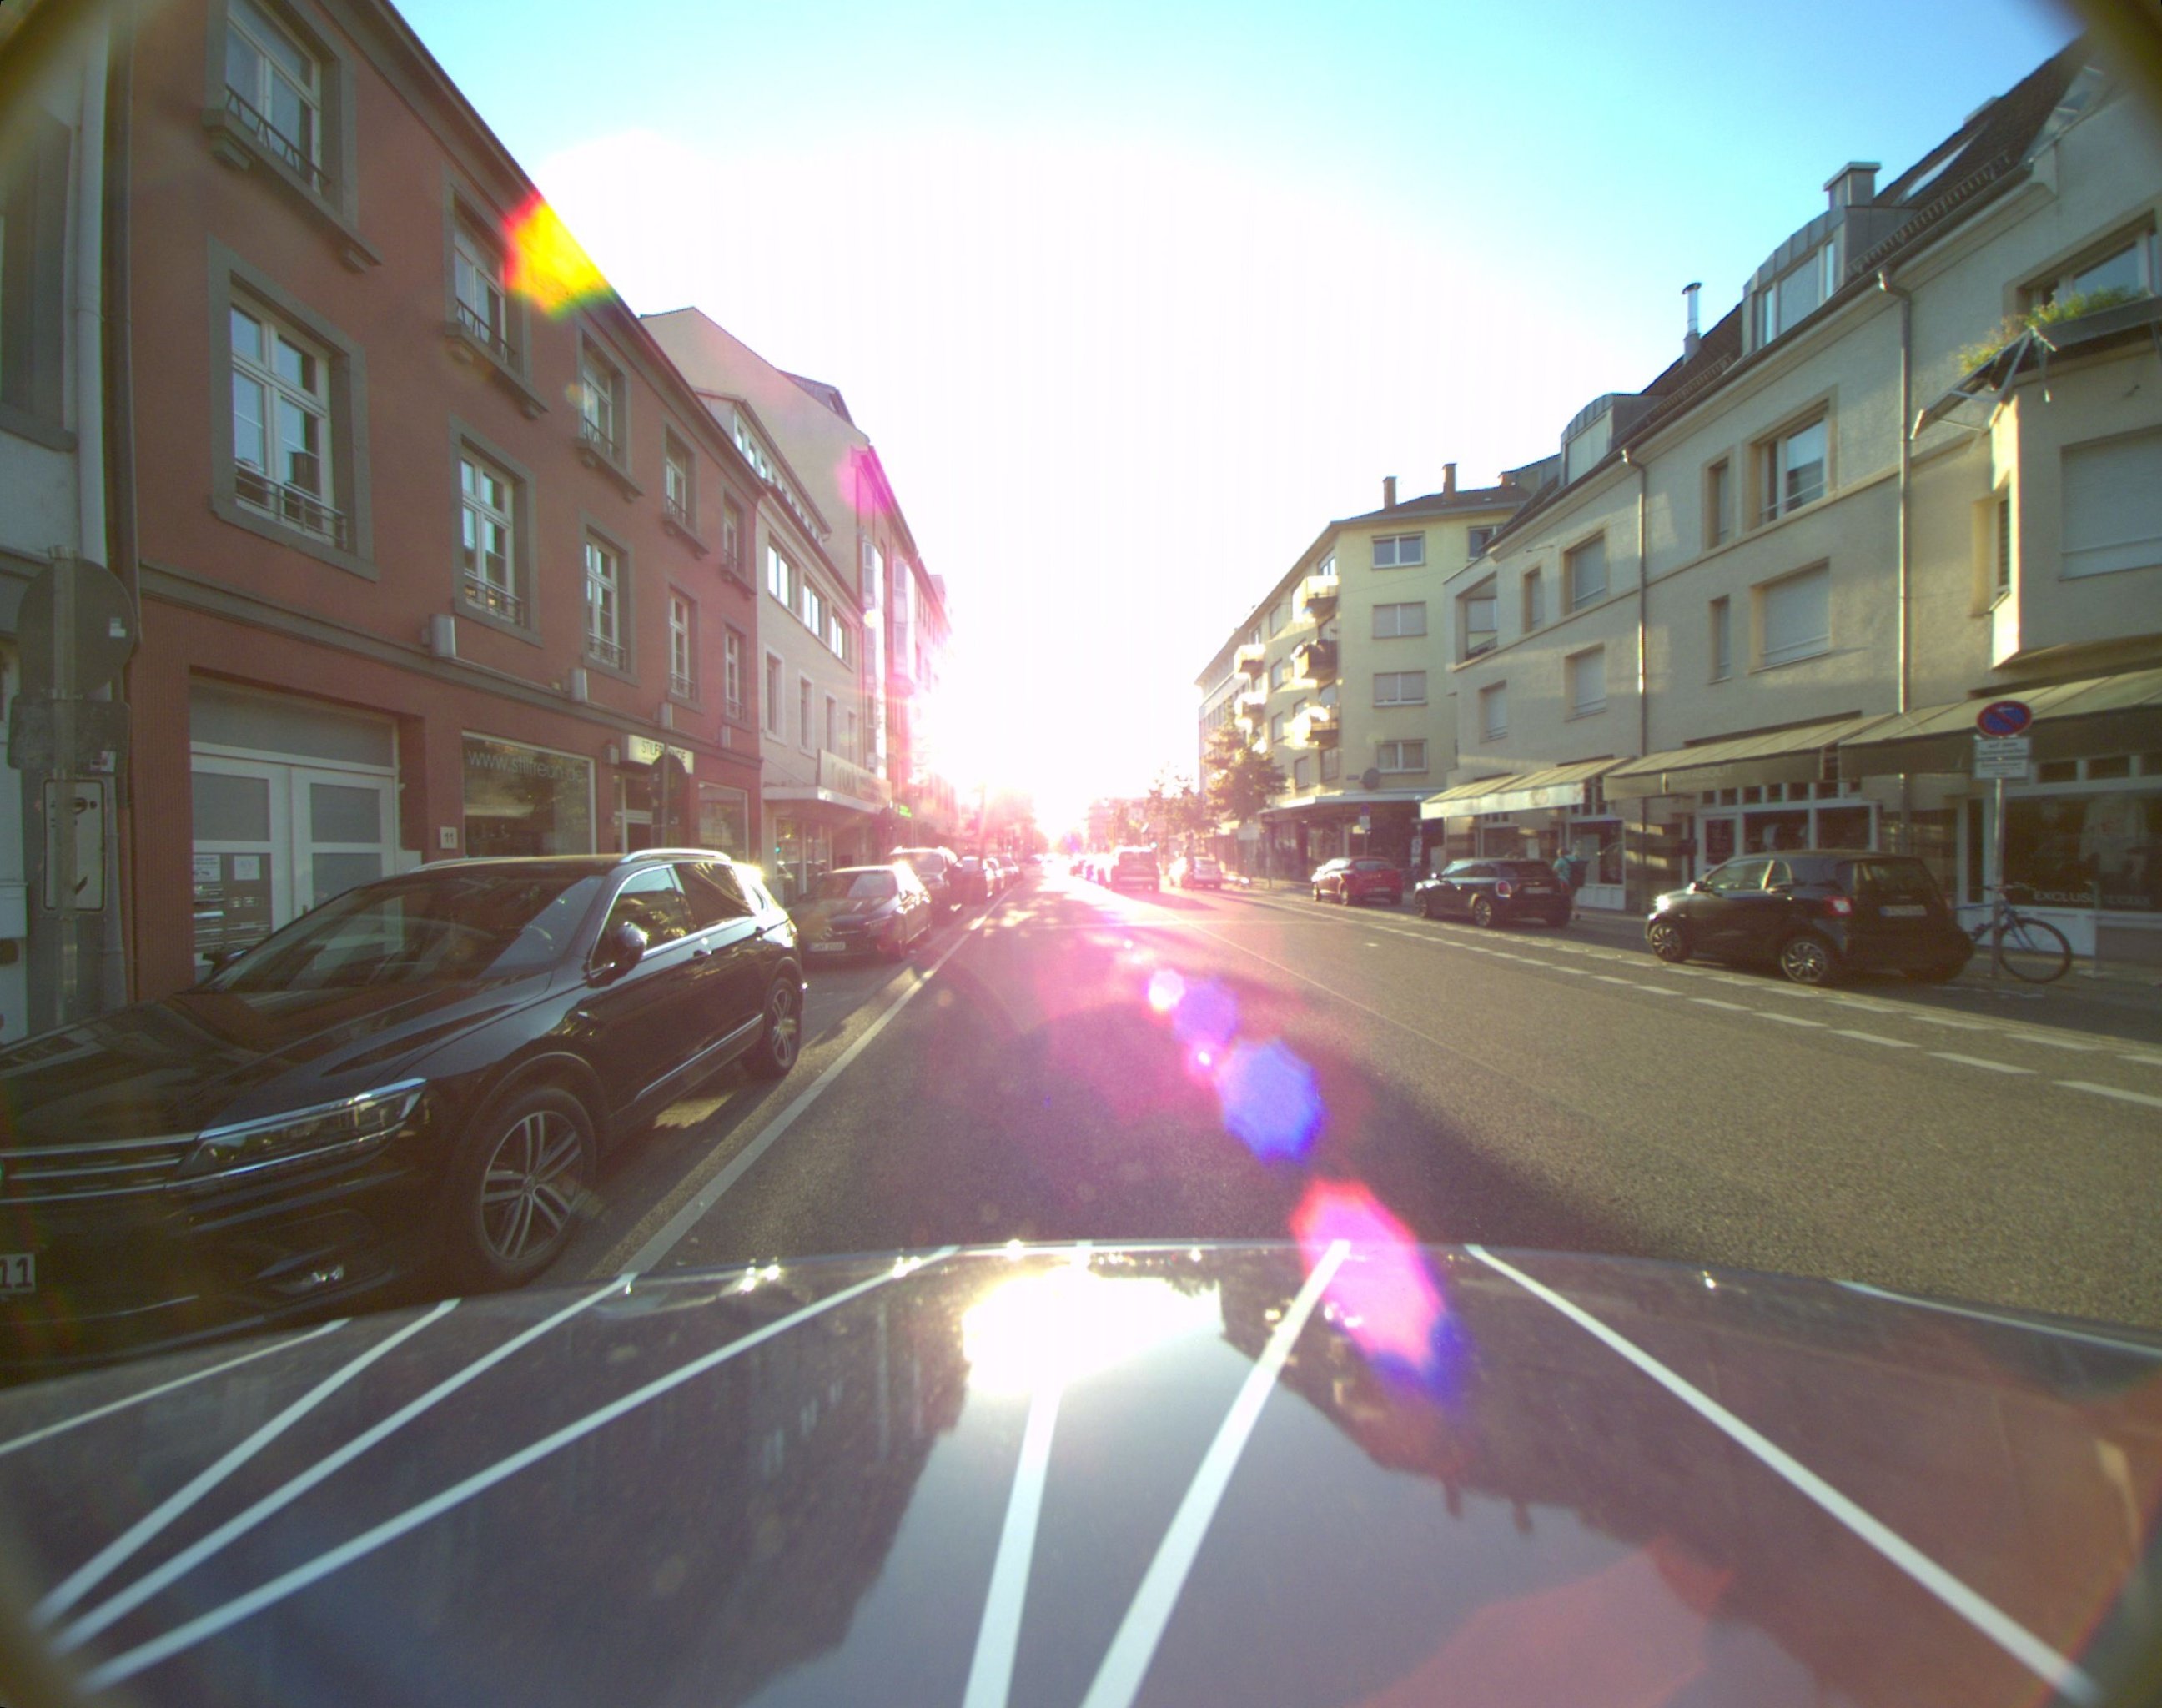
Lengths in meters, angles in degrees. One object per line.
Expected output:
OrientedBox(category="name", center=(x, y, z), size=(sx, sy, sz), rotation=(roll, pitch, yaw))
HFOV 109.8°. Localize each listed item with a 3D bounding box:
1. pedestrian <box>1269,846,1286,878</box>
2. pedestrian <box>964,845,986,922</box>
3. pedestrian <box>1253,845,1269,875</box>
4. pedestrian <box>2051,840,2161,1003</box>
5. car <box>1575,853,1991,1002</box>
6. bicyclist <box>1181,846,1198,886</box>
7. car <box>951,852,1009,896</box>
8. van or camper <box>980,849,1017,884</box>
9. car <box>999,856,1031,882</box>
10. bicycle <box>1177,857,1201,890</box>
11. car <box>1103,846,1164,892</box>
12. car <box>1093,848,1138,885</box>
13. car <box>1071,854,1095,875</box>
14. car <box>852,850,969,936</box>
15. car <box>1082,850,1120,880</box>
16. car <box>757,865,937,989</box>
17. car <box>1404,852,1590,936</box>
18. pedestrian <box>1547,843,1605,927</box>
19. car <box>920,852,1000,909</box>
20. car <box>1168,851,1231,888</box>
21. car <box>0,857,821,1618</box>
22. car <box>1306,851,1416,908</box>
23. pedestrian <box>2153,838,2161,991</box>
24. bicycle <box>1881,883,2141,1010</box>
OrientedBox(category="pedestrian", center=(11.079, 0.435, 42.887), size=(0.720, 1.781, 0.666), rotation=(-1, 1, -1))
OrientedBox(category="pedestrian", center=(-2.587, 0.710, 18.515), size=(0.485, 1.847, 0.539), rotation=(-1, 1, -10))
OrientedBox(category="pedestrian", center=(10.657, 0.353, 44.985), size=(0.720, 1.781, 0.666), rotation=(-1, 1, -1))
OrientedBox(category="pedestrian", center=(11.577, 0.699, 8.298), size=(0.632, 1.690, 1.040), rotation=(-1, 1, -3))
OrientedBox(category="car", center=(8.959, 0.789, 10.268), size=(1.794, 1.571, 3.965), rotation=(-1, 1, -4))
OrientedBox(category="bicyclist", center=(4.324, 0.480, 30.253), size=(0.548, 1.571, 0.803), rotation=(-1, 1, 1))
OrientedBox(category="car", center=(-4.094, 0.765, 31.469), size=(1.999, 1.645, 4.478), rotation=(-1, 1, -3))
OrientedBox(category="van or camper", center=(-4.507, 0.648, 41.178), size=(1.794, 1.763, 4.553), rotation=(-1, 1, -9))
OrientedBox(category="car", center=(-4.022, 0.885, 46.738), size=(1.694, 1.494, 3.786), rotation=(0, 1, 0))
OrientedBox(category="bicycle", center=(4.318, 0.766, 30.574), size=(0.665, 1.235, 2.130), rotation=(1, 1, 1))
OrientedBox(category="car", center=(2.011, 0.541, 30.131), size=(1.843, 1.639, 4.298), rotation=(1, 1, -3))
OrientedBox(category="car", center=(1.641, 0.573, 37.328), size=(1.843, 1.639, 4.299), rotation=(1, 1, -2))
OrientedBox(category="car", center=(0.131, 0.766, 56.176), size=(1.503, 1.426, 4.026), rotation=(1, 1, -3))
OrientedBox(category="car", center=(-4.014, 0.820, 18.879), size=(1.999, 1.767, 5.316), rotation=(-2, 1, -4))
OrientedBox(category="car", center=(1.139, 0.637, 45.277), size=(1.843, 1.639, 4.298), rotation=(1, 1, -3))
OrientedBox(category="car", center=(-3.575, 1.019, 12.489), size=(1.689, 1.479, 4.409), rotation=(-3, 1, -3))
OrientedBox(category="car", center=(8.847, 0.773, 16.572), size=(1.794, 1.571, 3.785), rotation=(-1, 1, -4))
OrientedBox(category="pedestrian", center=(10.477, 0.637, 16.104), size=(0.720, 1.724, 0.738), rotation=(-1, 1, -2))
OrientedBox(category="car", center=(-3.988, 0.813, 25.769), size=(1.999, 1.645, 4.626), rotation=(-2, 1, -1))
OrientedBox(category="car", center=(5.402, 0.677, 35.223), size=(1.999, 1.595, 4.403), rotation=(0, 0, -3))
OrientedBox(category="car", center=(-2.973, 0.928, 3.956), size=(1.799, 1.688, 4.458), rotation=(-3, 1, -3))
OrientedBox(category="car", center=(8.528, 0.721, 23.464), size=(1.794, 1.571, 3.785), rotation=(-1, 1, -4))
OrientedBox(category="pedestrian", center=(12.240, 0.666, 8.055), size=(0.561, 1.690, 0.831), rotation=(-1, 1, -3))
OrientedBox(category="bicycle", center=(10.525, 0.984, 8.737), size=(0.560, 1.199, 1.977), rotation=(0, 1, 1))
